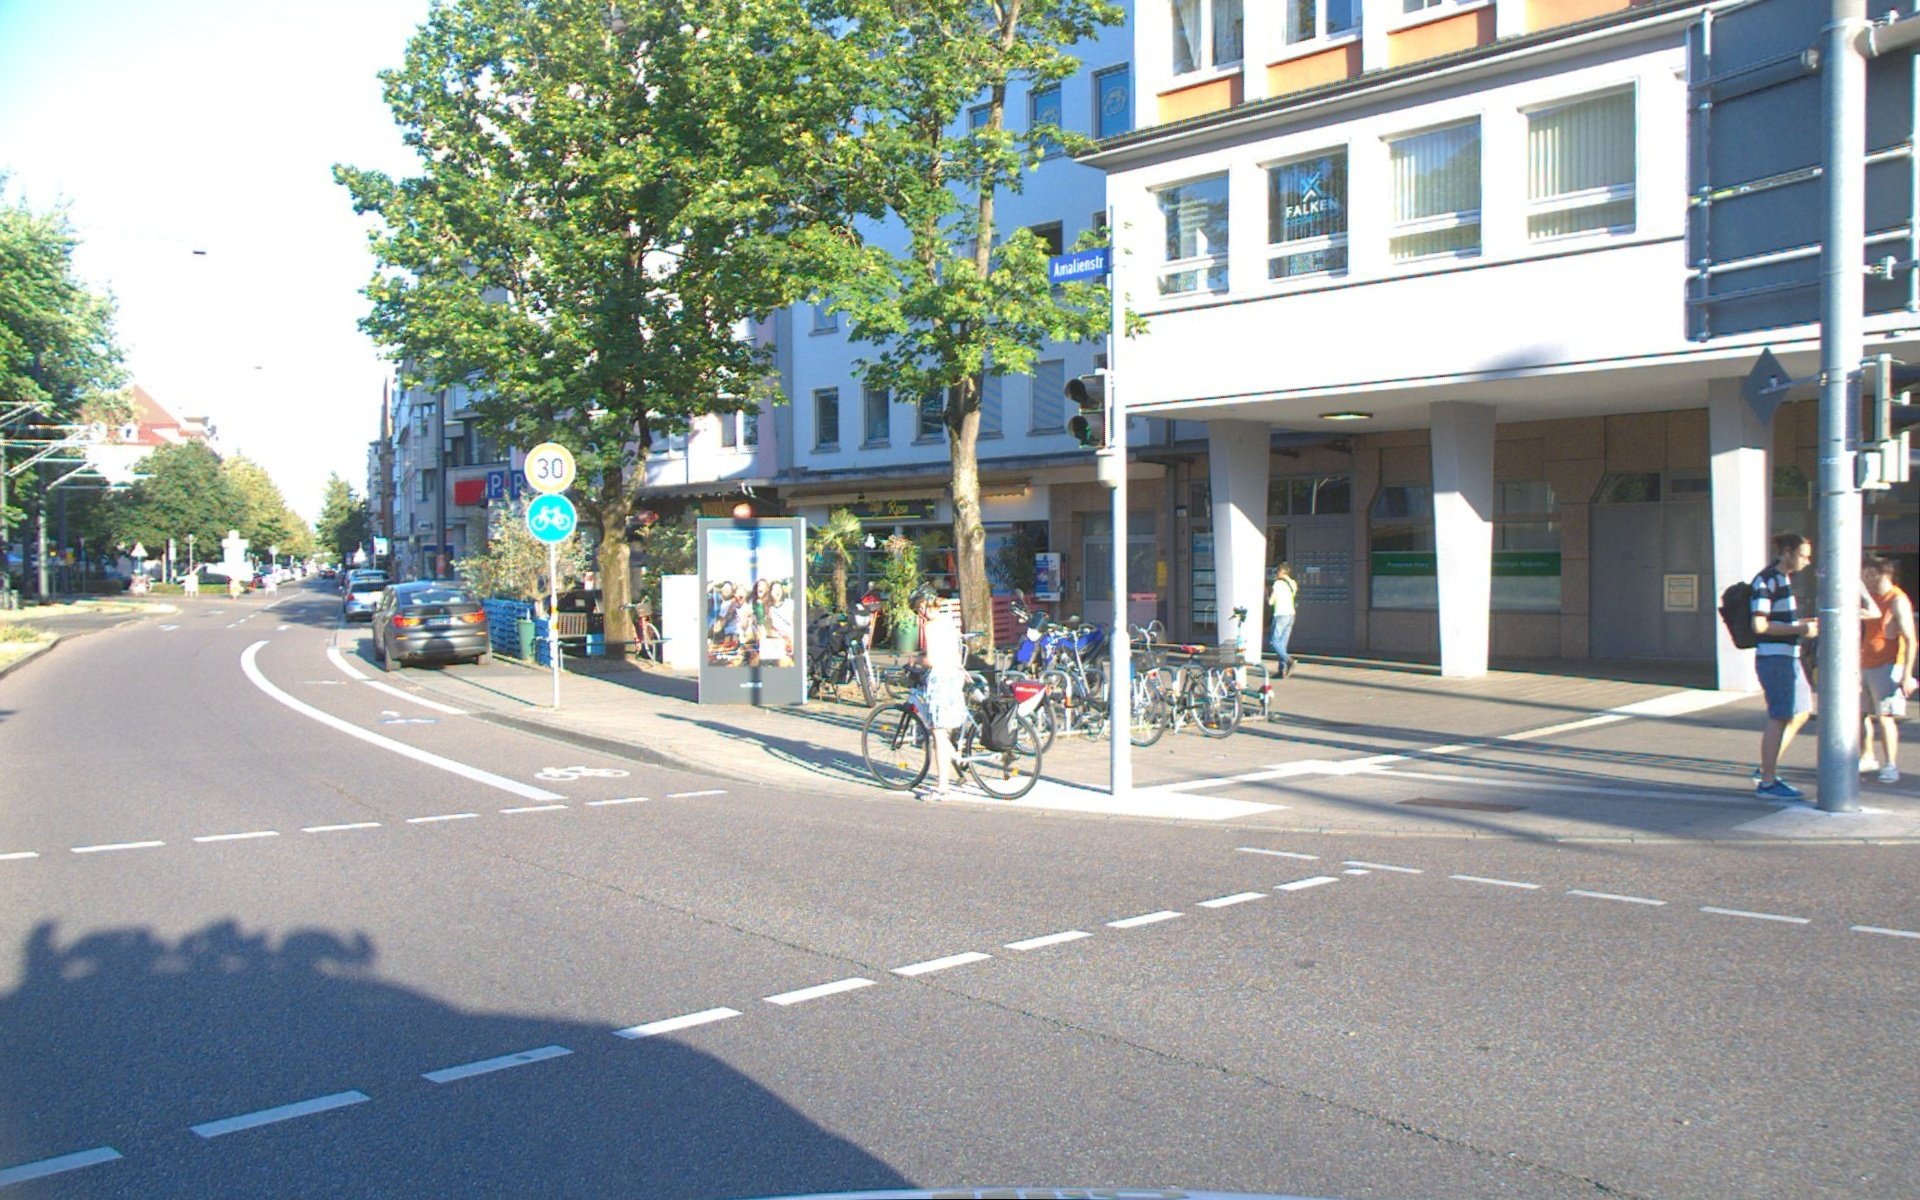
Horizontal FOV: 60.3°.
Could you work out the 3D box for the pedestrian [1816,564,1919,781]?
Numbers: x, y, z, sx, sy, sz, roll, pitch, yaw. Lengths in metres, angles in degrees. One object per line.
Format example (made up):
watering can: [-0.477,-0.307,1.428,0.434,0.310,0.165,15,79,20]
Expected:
pedestrian: [7.279,0.551,13.166,0.514,1.673,0.697,-2,1,-41]

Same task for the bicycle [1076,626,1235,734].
bicycle: [2.054,0.824,17.533,1.761,1.045,0.359,1,1,40]

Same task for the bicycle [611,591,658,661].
bicycle: [-6.004,0.456,30.454,0.440,1.231,2.068,0,1,-23]

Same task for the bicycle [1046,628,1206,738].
bicycle: [1.715,0.839,17.254,1.761,1.045,0.359,1,1,40]

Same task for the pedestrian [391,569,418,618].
pedestrian: [-20.533,-0.250,61.128,0.636,1.817,0.843,0,1,-45]

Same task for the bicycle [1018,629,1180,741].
bicycle: [1.404,0.848,16.948,1.760,1.045,0.367,1,1,39]

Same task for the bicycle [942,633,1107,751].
bicycle: [0.609,0.870,16.142,1.761,1.045,0.359,1,1,40]

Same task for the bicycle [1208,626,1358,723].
bicycle: [3.776,0.854,19.418,1.760,1.045,0.363,1,1,39]

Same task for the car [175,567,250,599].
car: [-54.923,-1.224,121.575,2.164,2.290,4.586,0,0,42]

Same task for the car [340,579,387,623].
car: [-23.204,0.026,64.295,1.563,1.618,3.643,0,1,-23]

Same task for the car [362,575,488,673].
car: [-10.287,0.388,31.585,1.781,1.699,4.776,0,1,-24]

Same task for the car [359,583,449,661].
car: [-12.239,0.440,36.266,1.628,1.561,4.039,0,1,-22]

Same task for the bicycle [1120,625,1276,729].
bicycle: [2.591,0.823,18.166,1.760,1.045,0.363,1,1,39]

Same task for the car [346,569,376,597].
car: [-39.583,-1.108,109.221,1.767,1.823,4.066,-1,1,-21]

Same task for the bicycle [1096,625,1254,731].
bicycle: [2.300,0.815,17.828,1.760,1.045,0.363,1,1,39]

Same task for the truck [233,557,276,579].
truck: [-89.975,-4.074,211.029,4.872,2.660,1.987,-1,1,-22]

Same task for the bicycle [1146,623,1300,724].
bicycle: [2.934,0.803,18.563,1.760,1.045,0.363,1,1,39]

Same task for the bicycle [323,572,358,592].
bicycle: [-36.512,-1.059,97.470,1.755,1.007,0.541,-3,3,-9]

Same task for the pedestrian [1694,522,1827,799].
pedestrian: [5.984,0.425,12.360,0.830,1.991,0.701,0,1,31]

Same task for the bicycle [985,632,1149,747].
bicycle: [1.051,0.871,16.552,1.761,1.045,0.359,1,1,40]

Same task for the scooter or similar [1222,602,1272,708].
scooter or similar: [3.692,0.683,21.337,0.302,1.285,1.525,0,1,-3]

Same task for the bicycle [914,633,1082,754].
bicycle: [0.337,0.865,15.782,1.761,1.045,0.359,1,1,40]

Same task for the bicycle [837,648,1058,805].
bicycle: [-0.121,0.926,12.597,1.760,1.045,0.513,1,1,39]

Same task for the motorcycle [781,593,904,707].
motorcycle: [-1.547,0.607,21.407,0.635,1.367,2.178,0,1,-32]

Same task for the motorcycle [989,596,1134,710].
motorcycle: [1.325,0.649,21.242,0.632,1.378,2.133,1,1,44]

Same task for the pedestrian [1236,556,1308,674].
pedestrian: [4.763,0.216,25.291,0.862,1.755,0.651,1,1,44]

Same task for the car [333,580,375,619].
car: [-25.606,-0.042,69.832,1.617,1.555,3.976,0,1,-21]

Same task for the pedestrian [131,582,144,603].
pedestrian: [-53.930,-0.503,108.419,0.551,1.388,0.614,0,1,-5]

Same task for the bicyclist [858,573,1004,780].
bicyclist: [-0.217,0.552,12.645,0.791,1.506,0.794,1,1,38]

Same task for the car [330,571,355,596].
car: [-46.860,-1.265,125.558,1.685,1.867,4.280,0,1,-20]

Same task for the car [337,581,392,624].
car: [-21.429,0.066,59.587,1.758,1.481,3.977,-1,1,-19]

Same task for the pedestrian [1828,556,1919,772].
pedestrian: [7.636,0.504,13.586,0.514,1.722,0.761,-2,1,-41]
